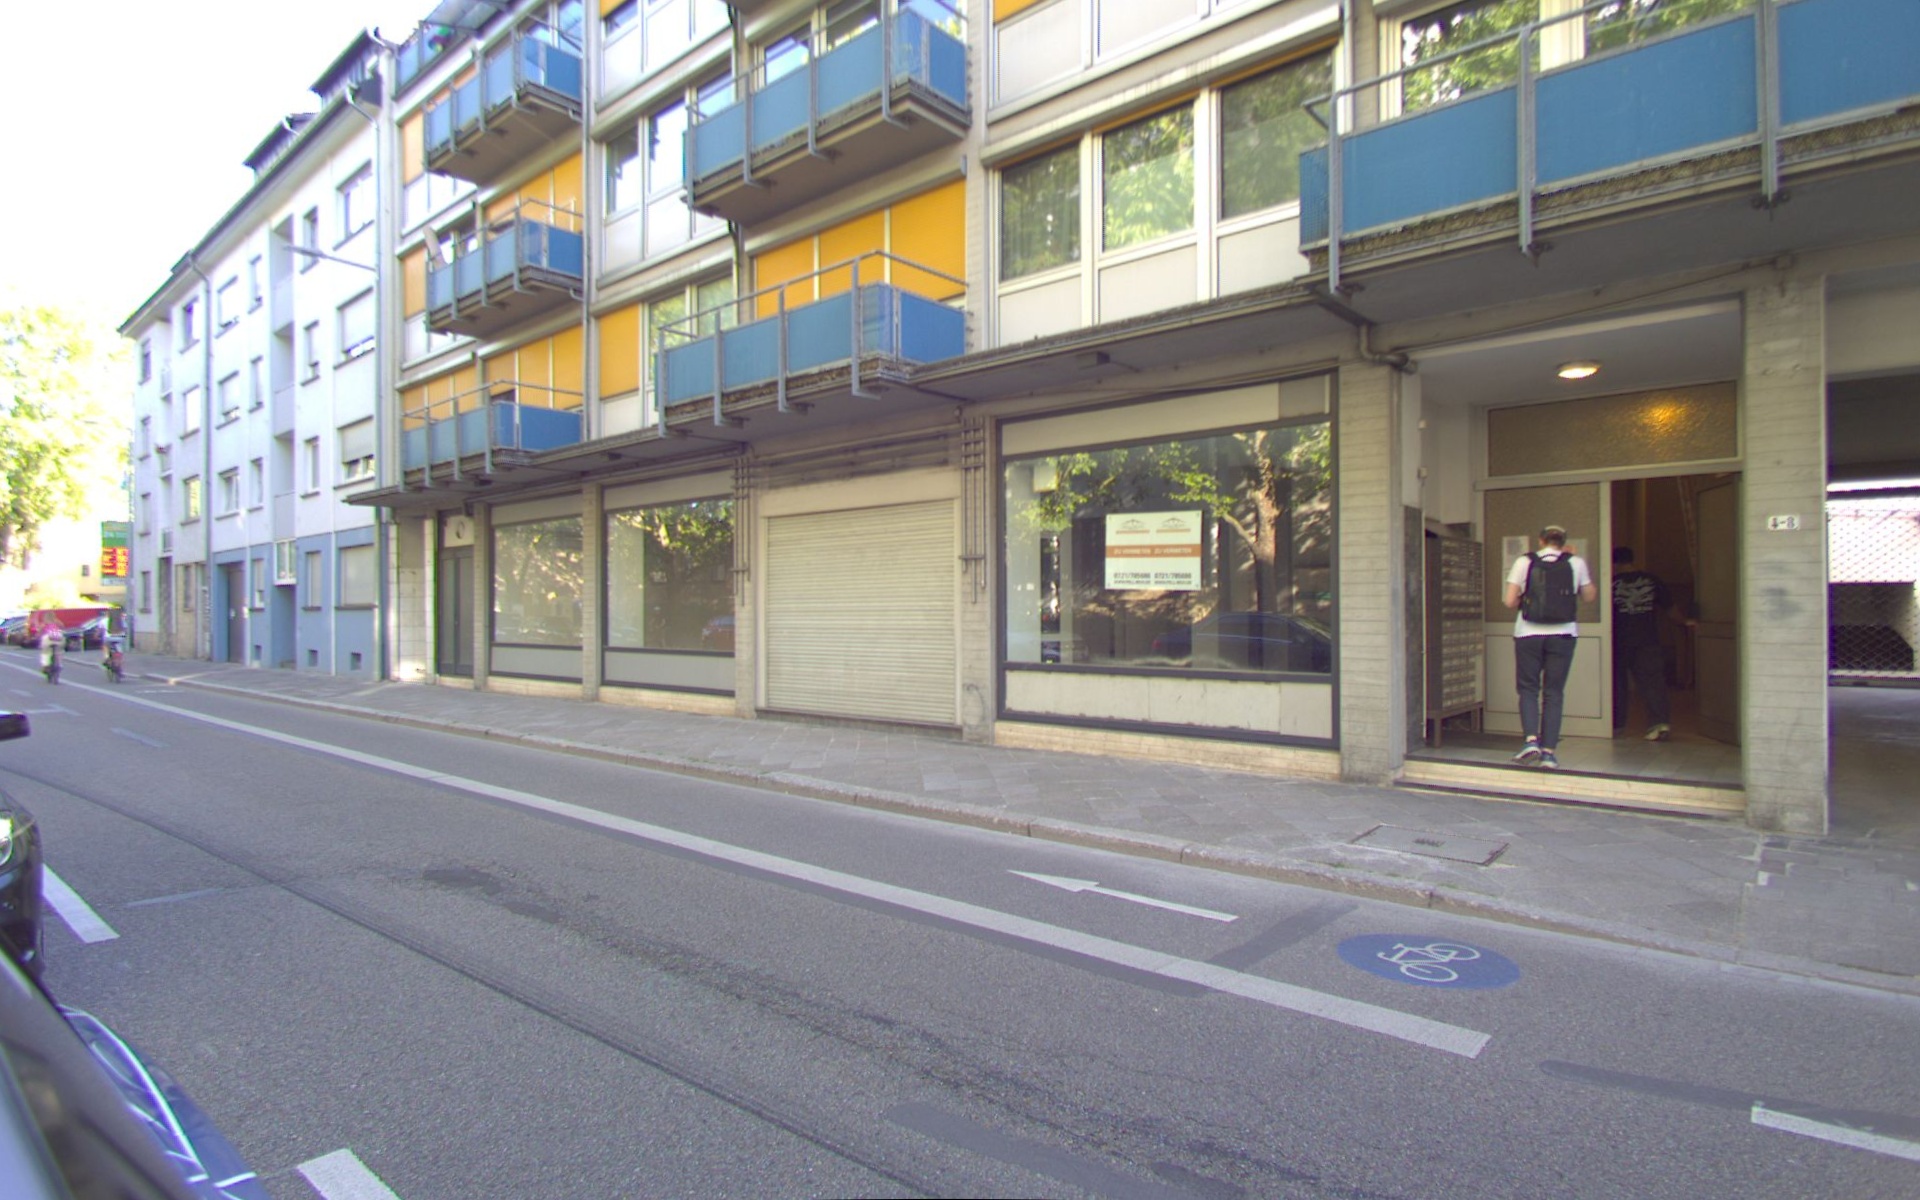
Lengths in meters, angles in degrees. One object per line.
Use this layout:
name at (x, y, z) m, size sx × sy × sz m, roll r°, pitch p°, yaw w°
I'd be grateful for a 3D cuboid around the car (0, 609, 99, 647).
car at (-55.409, 1.662, 61.152) m, size 1.999 × 2.210 × 4.927 m, roll -1°, pitch -1°, yaw 41°

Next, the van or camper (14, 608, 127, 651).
van or camper at (-43.896, 1.422, 50.010) m, size 1.999 × 2.029 × 3.946 m, roll -1°, pitch -1°, yaw 40°

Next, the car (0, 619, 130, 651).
car at (-45.729, 1.742, 51.702) m, size 1.999 × 1.506 × 4.927 m, roll -1°, pitch -1°, yaw 41°

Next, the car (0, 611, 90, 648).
car at (-57.403, 1.812, 62.861) m, size 1.999 × 2.210 × 4.927 m, roll -1°, pitch -1°, yaw 41°

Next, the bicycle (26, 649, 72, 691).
bicycle at (-22.015, 1.672, 24.451) m, size 1.863 × 0.936 × 0.686 m, roll -1°, pitch -1°, yaw 43°

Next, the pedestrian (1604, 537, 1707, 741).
pedestrian at (6.163, 0.334, 8.974) m, size 0.661 × 1.726 × 0.541 m, roll -1°, pitch -1°, yaw 42°

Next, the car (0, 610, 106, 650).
car at (-53.322, 1.727, 59.201) m, size 1.999 × 2.210 × 4.927 m, roll -1°, pitch -1°, yaw 41°

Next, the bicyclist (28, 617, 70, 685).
bicyclist at (-21.991, 1.215, 24.425) m, size 0.982 × 1.590 × 0.677 m, roll -1°, pitch -1°, yaw 42°

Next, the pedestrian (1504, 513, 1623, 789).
pedestrian at (4.302, 0.331, 7.195) m, size 0.600 × 1.813 × 0.868 m, roll -1°, pitch 0°, yaw 37°

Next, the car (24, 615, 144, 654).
car at (-41.640, 1.611, 48.168) m, size 1.999 × 1.703 × 4.093 m, roll -1°, pitch -1°, yaw 41°

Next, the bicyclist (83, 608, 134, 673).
bicyclist at (-21.146, 0.993, 25.135) m, size 0.839 × 1.566 × 0.833 m, roll -1°, pitch -1°, yaw 40°

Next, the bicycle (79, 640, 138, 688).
bicycle at (-21.182, 1.571, 25.169) m, size 1.835 × 1.087 × 0.854 m, roll -1°, pitch -1°, yaw 41°

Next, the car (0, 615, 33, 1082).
car at (-4.999, 0.818, 3.842) m, size 3.861 × 1.467 × 1.718 m, roll -1°, pitch -1°, yaw 40°

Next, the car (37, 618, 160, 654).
car at (-39.760, 1.623, 46.783) m, size 1.999 × 1.506 × 4.093 m, roll -1°, pitch -1°, yaw 41°
